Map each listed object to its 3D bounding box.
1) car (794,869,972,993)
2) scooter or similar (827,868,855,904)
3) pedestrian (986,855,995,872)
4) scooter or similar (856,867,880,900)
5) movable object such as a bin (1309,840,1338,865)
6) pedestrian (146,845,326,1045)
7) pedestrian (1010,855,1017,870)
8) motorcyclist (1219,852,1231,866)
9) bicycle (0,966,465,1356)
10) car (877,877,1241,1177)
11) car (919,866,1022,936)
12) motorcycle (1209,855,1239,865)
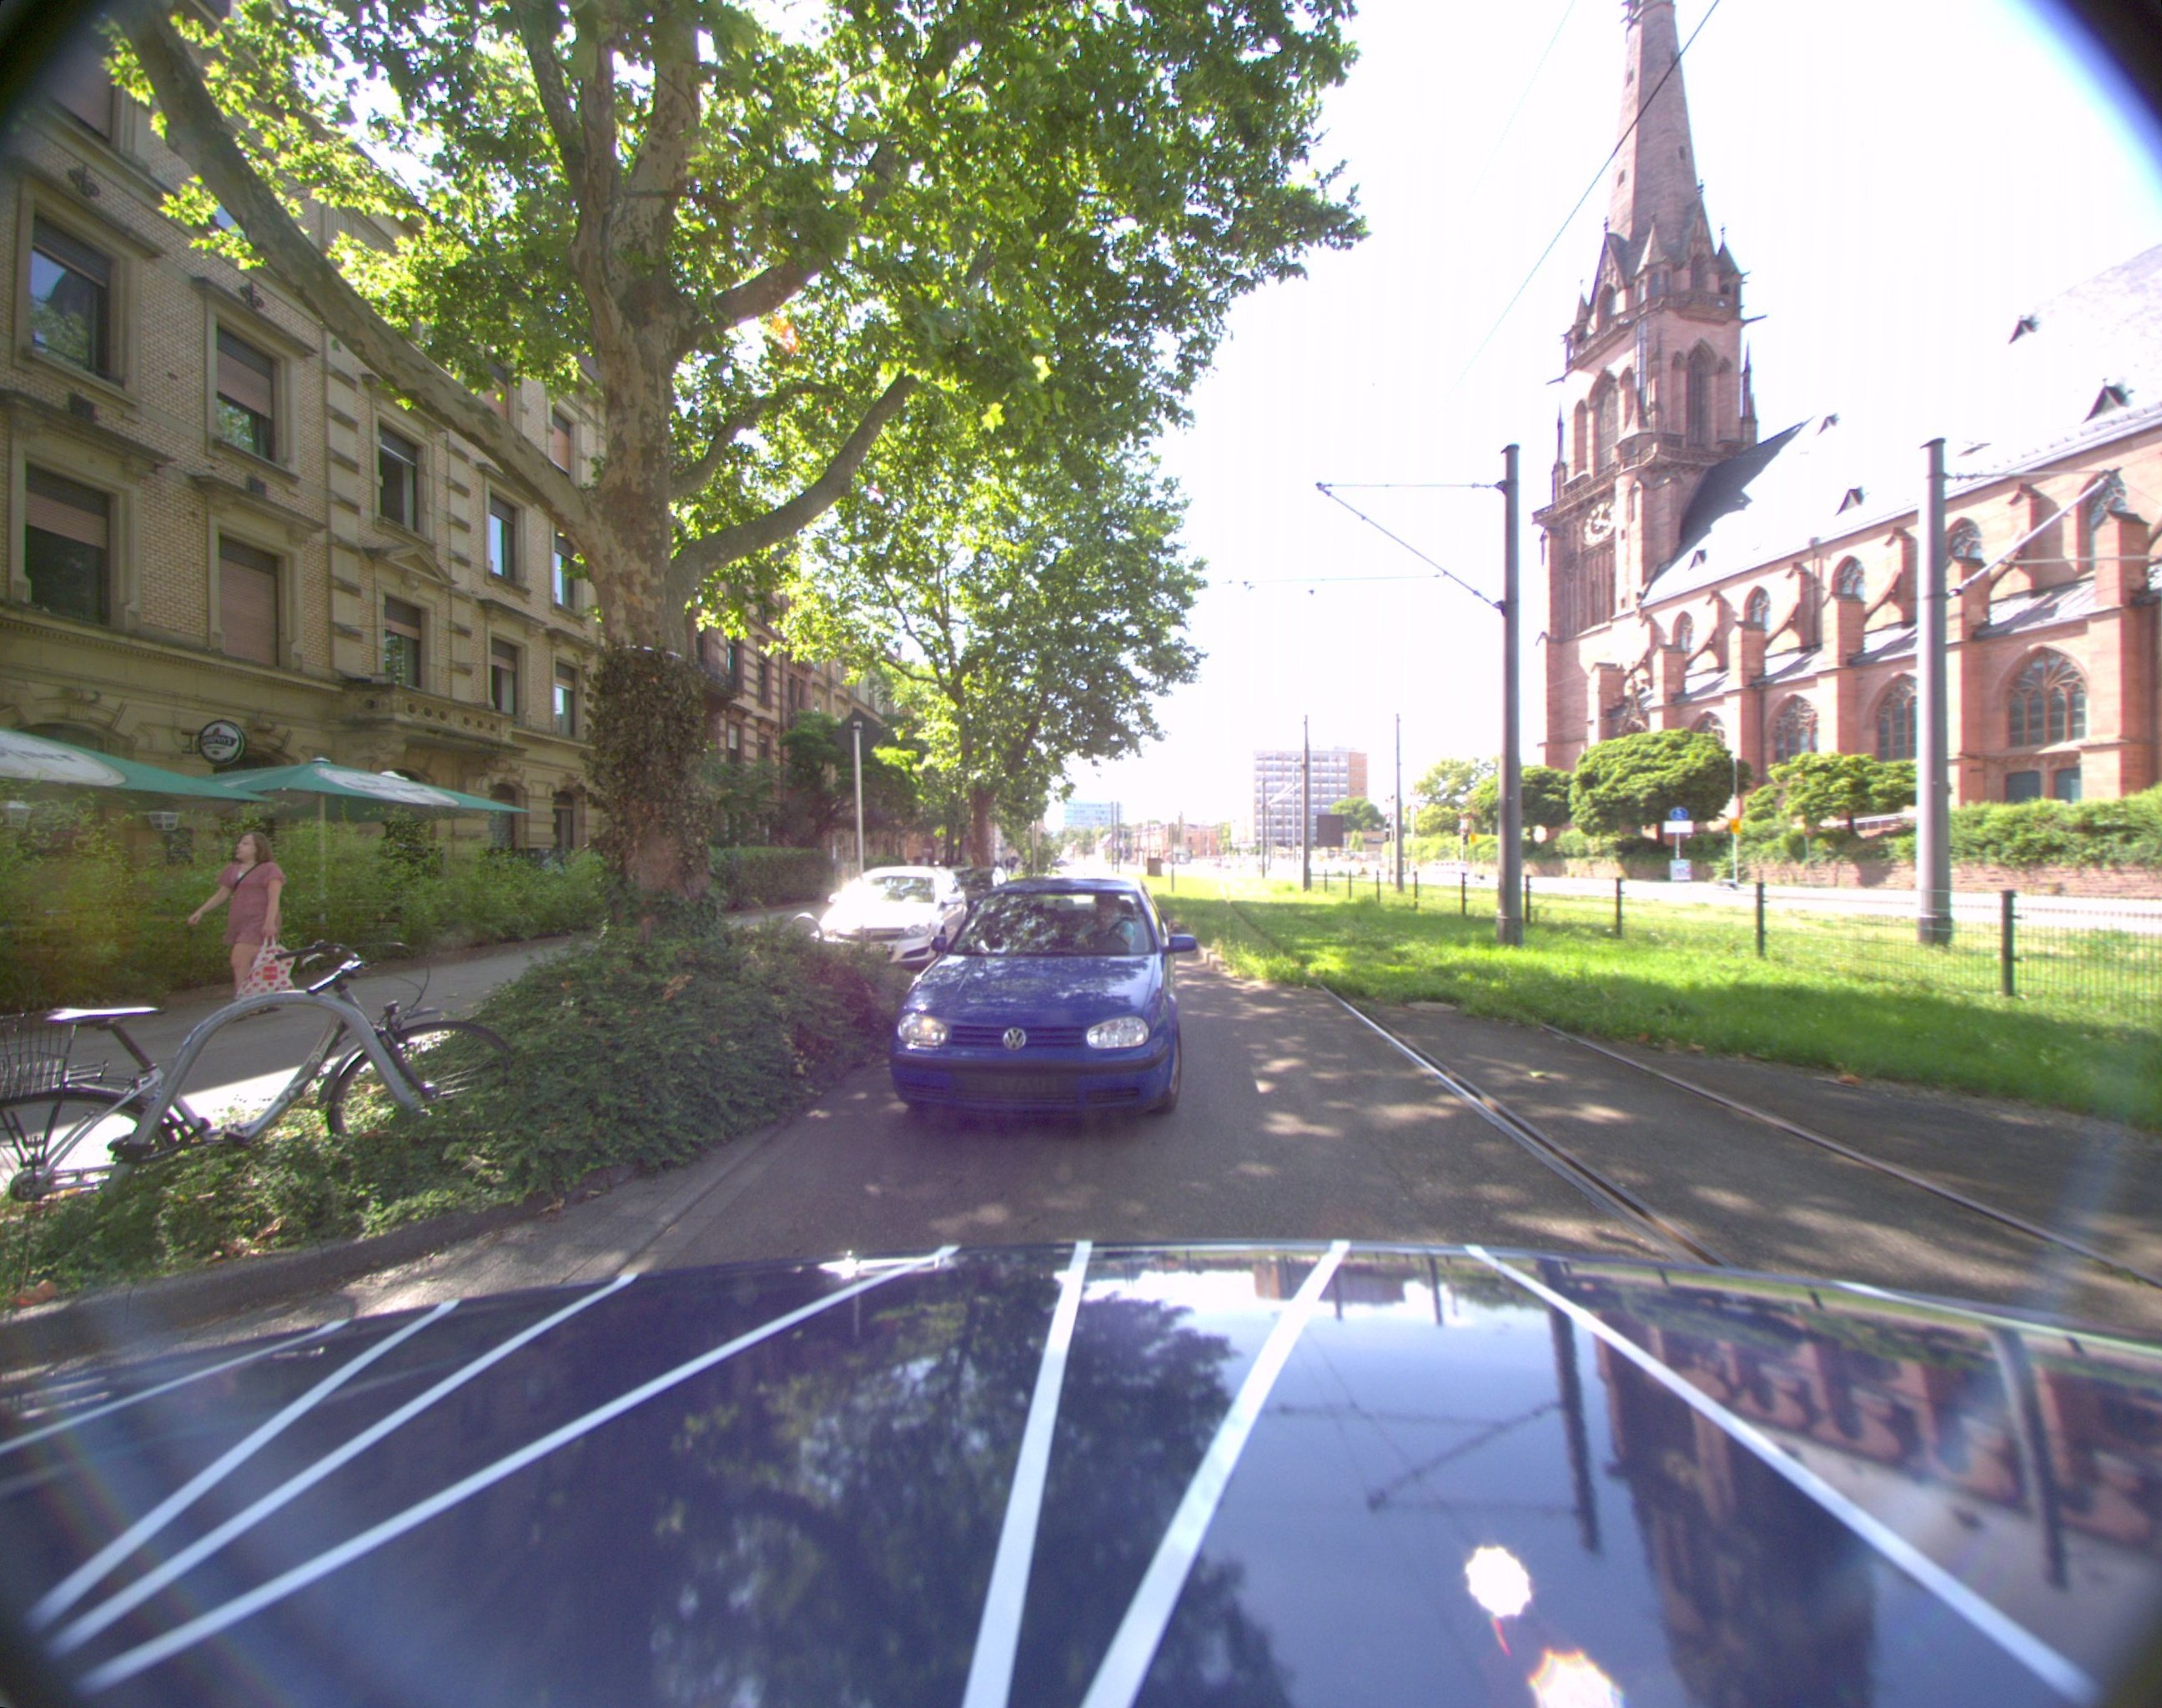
[{"bbox_3d":[-2.868,1.032,12.039,1.838,1.499,4.491,0,0,-3],"label":"car"},{"bbox_3d":[-8.487,1.117,26.870,0.583,1.240,1.145,0,0,1],"label":"scooter or similar"},{"bbox_3d":[-9.240,0.944,77.497,0.797,1.708,0.968,-1,0,0],"label":"pedestrian"},{"bbox_3d":[-8.290,1.135,29.592,0.583,1.275,1.145,0,0,3],"label":"scooter or similar"},{"bbox_3d":[37.609,-0.225,117.888,3.341,3.859,2.932,0,0,-33],"label":"movable object such as a bin"},{"bbox_3d":[-7.976,0.816,7.218,0.738,1.775,0.852,1,0,0],"label":"pedestrian"},{"bbox_3d":[-8.097,1.033,91.400,0.797,1.708,0.968,-1,0,0],"label":"pedestrian"},{"bbox_3d":[19.722,0.656,104.201,1.105,1.919,1.336,0,1,44],"label":"motorcyclist"},{"bbox_3d":[-3.526,1.113,3.012,0.421,1.099,1.620,0,0,31],"label":"bicycle"},{"bbox_3d":[-0.240,0.952,6.004,1.887,1.401,4.091,-1,0,-4],"label":"car"},{"bbox_3d":[-2.635,1.082,19.260,1.838,1.499,4.643,0,0,1],"label":"car"},{"bbox_3d":[19.621,0.883,104.285,3.926,1.331,1.247,-1,0,42],"label":"motorcycle"}]
